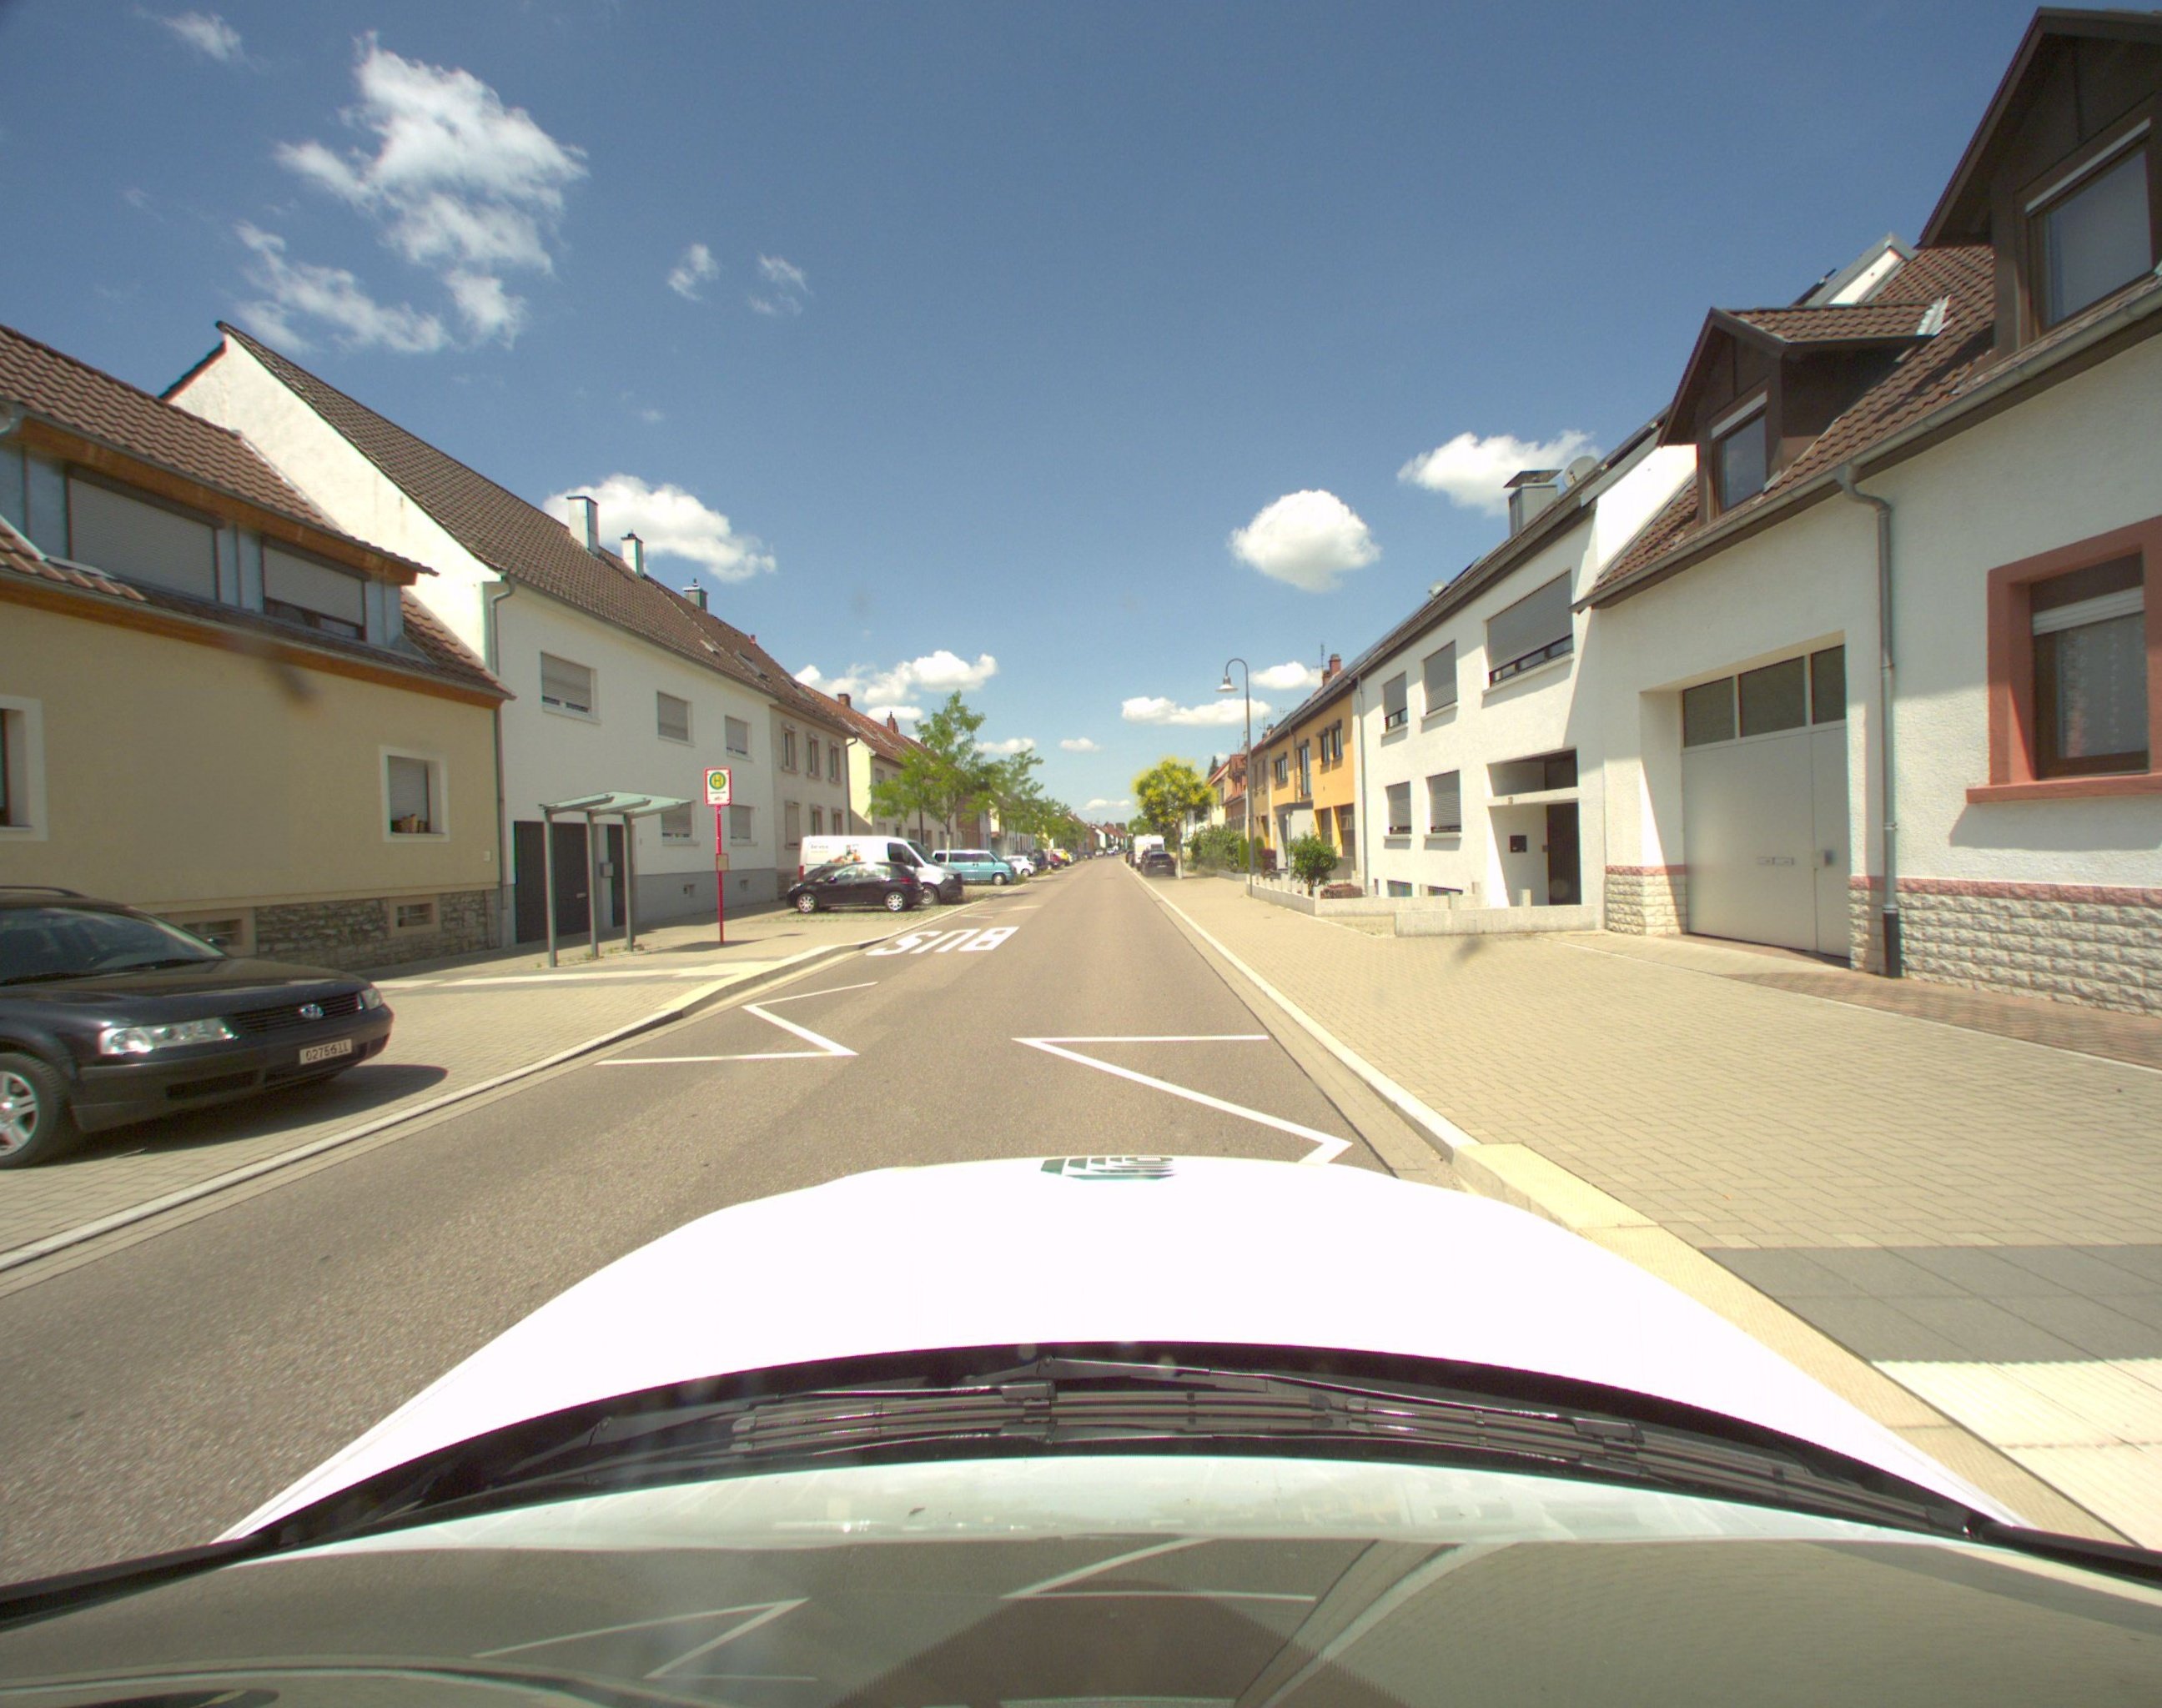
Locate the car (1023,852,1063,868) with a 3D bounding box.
[{"bbox_3d":[-4.195,0.633,90.019,4.238,1.611,1.843,-1,0,1],"label":"car"}]

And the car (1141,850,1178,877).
[{"bbox_3d":[4.577,0.524,47.904,1.761,1.488,4.296,-2,0,1],"label":"car"}]

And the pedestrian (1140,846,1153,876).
[{"bbox_3d":[4.094,0.440,50.855,0.713,1.853,0.578,-2,0,2],"label":"pedestrian"}]

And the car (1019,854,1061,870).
[{"bbox_3d":[-4.000,0.780,80.730,4.041,1.478,1.775,-1,0,-1],"label":"car"}]

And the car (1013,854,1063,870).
[{"bbox_3d":[-4.011,0.773,76.892,4.507,1.425,1.796,-1,0,1],"label":"car"}]

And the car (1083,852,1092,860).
[{"bbox_3d":[1.373,0.348,165.000,1.810,1.433,4.139,2,1,0],"label":"car"}]

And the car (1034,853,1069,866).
[{"bbox_3d":[-3.468,0.639,95.463,3.994,1.459,1.756,-1,0,2],"label":"car"}]

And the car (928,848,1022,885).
[{"bbox_3d":[-5.582,0.667,43.388,4.658,1.907,2.001,-1,-1,2],"label":"car"}]

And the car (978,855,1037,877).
[{"bbox_3d":[-5.151,0.830,57.327,3.899,1.488,1.774,-1,0,4],"label":"car"}]

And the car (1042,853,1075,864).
[{"bbox_3d":[-3.088,0.618,110.463,4.276,1.468,1.775,-1,-1,3],"label":"car"}]

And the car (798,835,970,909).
[{"bbox_3d":[-6.433,0.563,27.060,5.149,2.288,2.157,-1,0,0],"label":"car"}]

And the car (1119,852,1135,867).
[{"bbox_3d":[6.053,0.675,106.088,1.855,1.635,4.452,-4,1,5],"label":"car"}]

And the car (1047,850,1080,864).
[{"bbox_3d":[-2.606,0.419,120.064,4.682,1.923,1.938,-1,-1,2],"label":"car"}]

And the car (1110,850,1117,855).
[{"bbox_3d":[9.828,-0.517,246.520,1.756,1.522,4.050,-4,0,1],"label":"car"}]

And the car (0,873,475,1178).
[{"bbox_3d":[-6.883,0.951,5.215,4.569,1.517,1.902,-1,0,1],"label":"car"}]

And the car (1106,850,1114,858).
[{"bbox_3d":[7.779,0.008,216.722,2.015,1.950,4.900,-2,-1,1],"label":"car"}]

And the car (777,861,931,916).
[{"bbox_3d":[-6.615,0.990,24.108,3.975,1.445,1.901,-2,0,-1],"label":"car"}]

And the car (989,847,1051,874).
[{"bbox_3d":[-4.808,0.507,64.458,4.593,1.996,1.955,-1,0,3],"label":"car"}]

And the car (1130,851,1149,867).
[{"bbox_3d":[5.647,0.477,78.995,1.760,1.529,4.010,-2,0,3],"label":"car"}]

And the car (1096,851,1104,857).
[{"bbox_3d":[5.026,0.043,213.935,1.841,1.659,4.006,0,0,5],"label":"car"}]

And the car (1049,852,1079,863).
[{"bbox_3d":[-2.460,0.549,117.332,4.171,1.568,1.773,-1,-1,-2],"label":"car"}]

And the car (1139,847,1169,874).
[{"bbox_3d":[4.773,0.402,53.630,1.760,1.705,4.328,-2,0,3],"label":"car"}]

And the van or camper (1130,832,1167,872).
[{"bbox_3d":[5.250,-0.181,63.970,2.464,2.810,5.793,-3,0,2],"label":"van or camper"}]

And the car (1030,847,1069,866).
[{"bbox_3d":[-3.817,0.281,98.021,4.491,2.177,1.926,-1,0,2],"label":"car"}]
